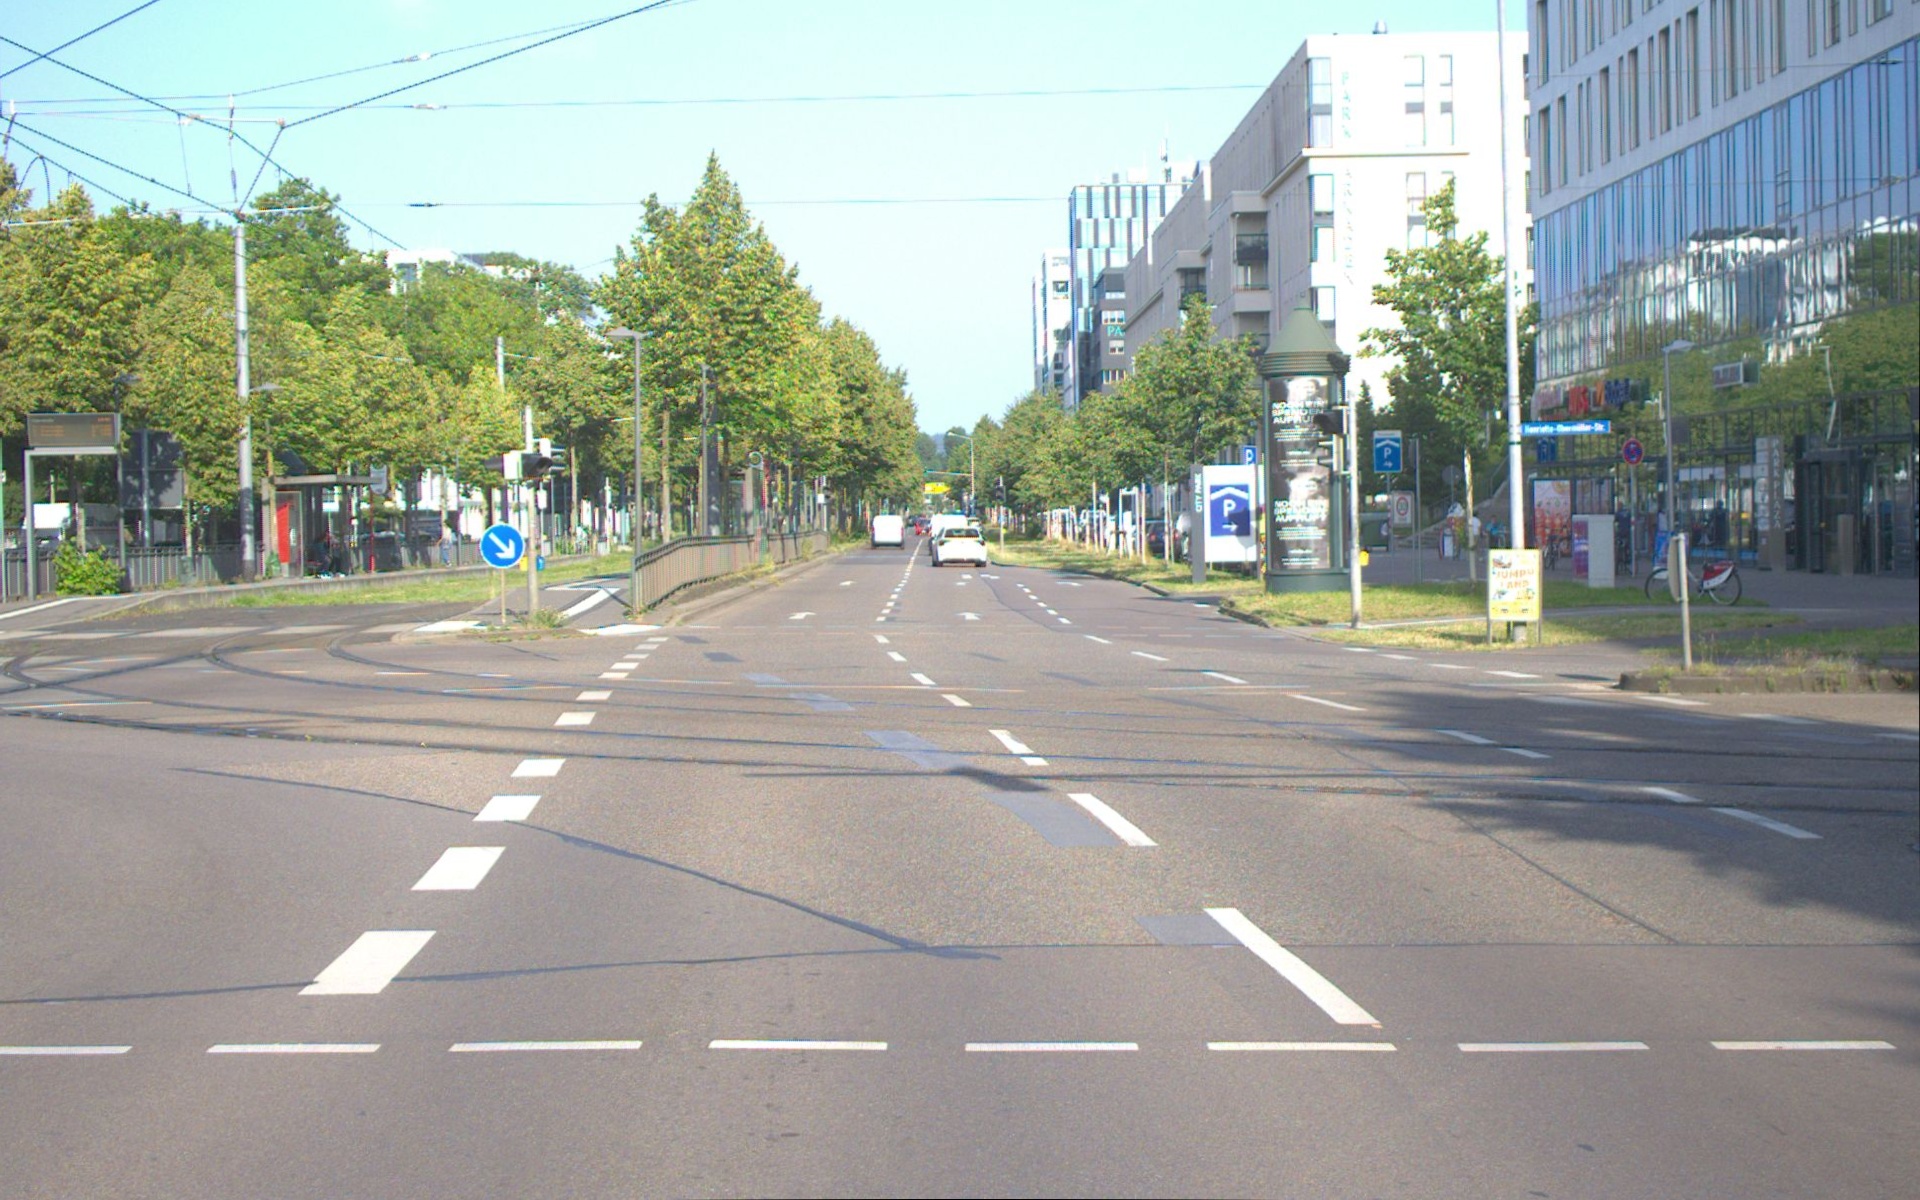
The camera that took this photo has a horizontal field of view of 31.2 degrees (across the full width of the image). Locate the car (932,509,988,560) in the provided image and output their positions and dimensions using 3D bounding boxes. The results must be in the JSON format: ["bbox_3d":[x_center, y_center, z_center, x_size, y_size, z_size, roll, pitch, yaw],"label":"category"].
[{"bbox_3d":[0.011,-2.260,118.466,1.864,1.678,4.000,1,2,0],"label":"car"}]

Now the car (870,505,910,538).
[{"bbox_3d":[-3.717,-4.195,183.985,2.015,1.678,4.000,1,2,0],"label":"car"}]

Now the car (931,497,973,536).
[{"bbox_3d":[-0.355,-3.779,154.730,1.864,1.678,4.000,1,2,0],"label":"car"}]

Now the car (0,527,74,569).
[{"bbox_3d":[-35.273,-1.995,130.614,1.881,1.554,3.999,-1,1,5],"label":"car"}]

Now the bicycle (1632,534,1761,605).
[{"bbox_3d":[11.650,-0.492,54.410,0.771,1.028,1.878,-2,4,-44],"label":"bicycle"}]

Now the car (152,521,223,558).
[{"bbox_3d":[-33.929,-2.652,151.025,1.881,1.554,3.999,-1,1,5],"label":"car"}]
